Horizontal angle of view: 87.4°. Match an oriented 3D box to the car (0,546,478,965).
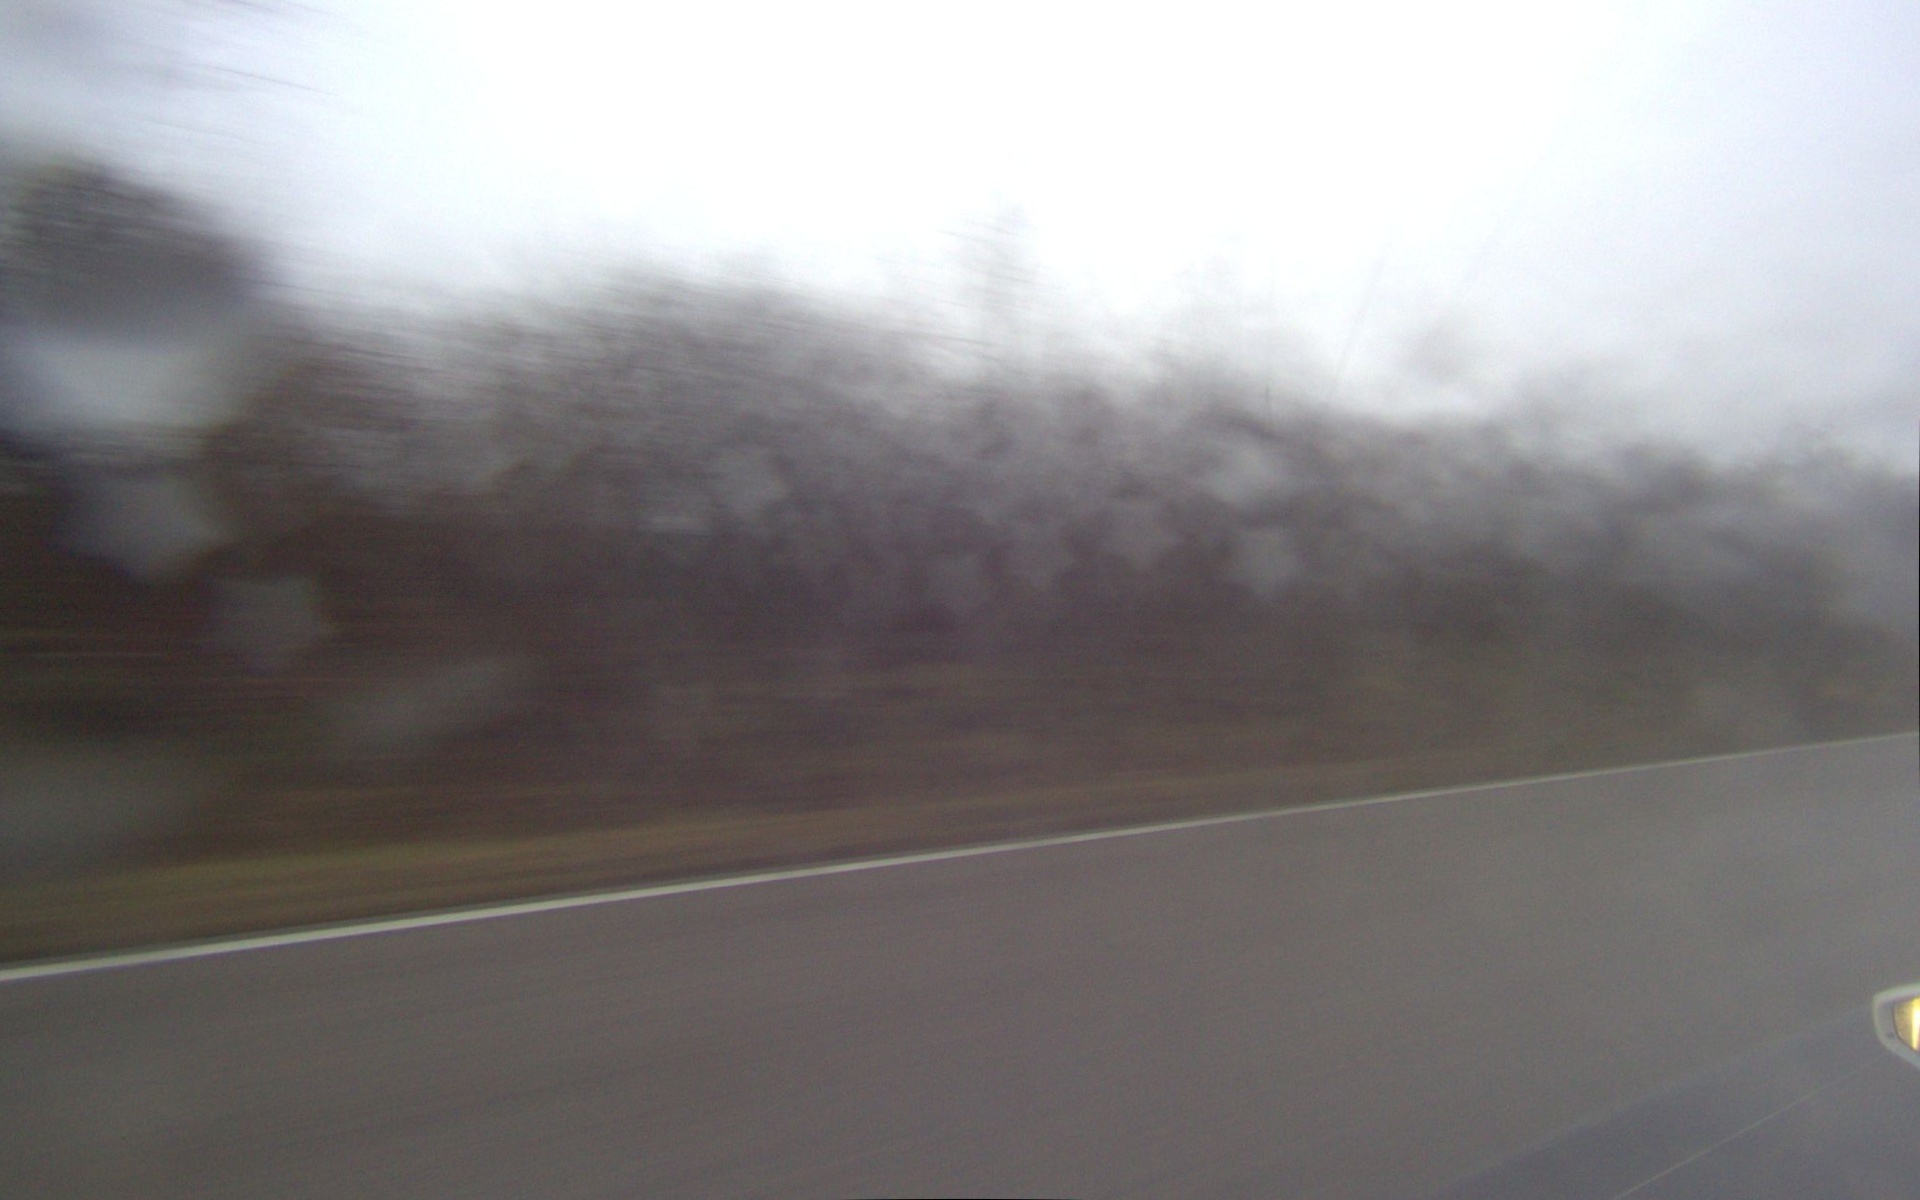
[{"bbox_3d":[-4.348,0.616,4.582,3.730,1.630,1.767,2,-2,-31],"label":"car"}]
